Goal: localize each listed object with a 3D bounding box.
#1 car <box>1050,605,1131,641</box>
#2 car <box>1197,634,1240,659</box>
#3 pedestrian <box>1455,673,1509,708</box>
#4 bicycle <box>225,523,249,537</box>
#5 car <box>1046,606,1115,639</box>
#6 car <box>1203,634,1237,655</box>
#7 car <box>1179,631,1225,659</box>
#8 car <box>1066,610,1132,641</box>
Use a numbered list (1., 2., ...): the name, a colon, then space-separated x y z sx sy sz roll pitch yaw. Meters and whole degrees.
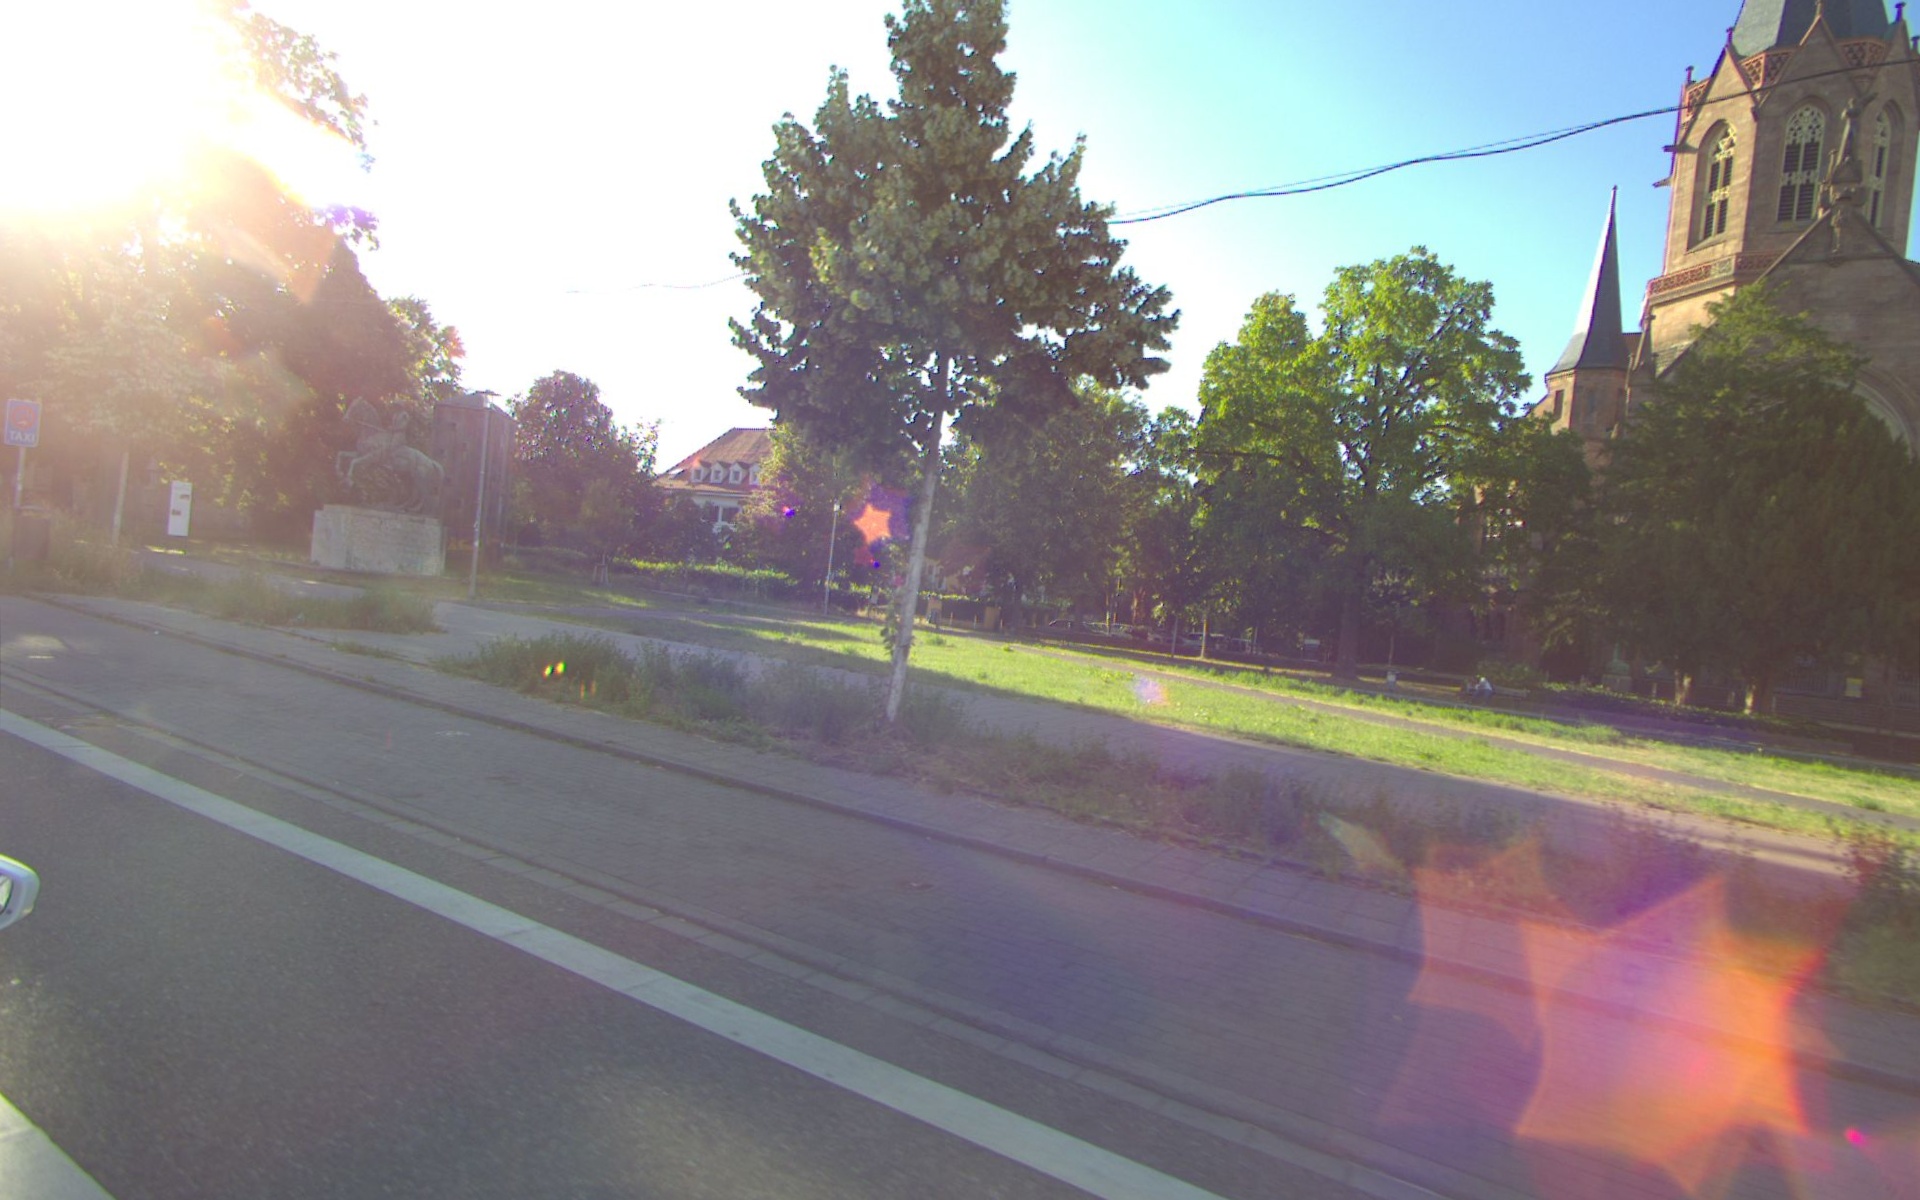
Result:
1. car: 8.212 1.451 63.520 4.554 1.740 1.998 6 1 24
2. car: 19.178 3.438 74.489 1.603 1.528 4.147 7 0 34
3. pedestrian: 17.862 3.113 34.442 1.266 1.006 1.377 7 0 41
4. bicycle: -69.614 -6.754 96.916 0.840 1.115 1.981 8 0 -3
5. car: 8.022 1.496 67.007 4.086 1.650 1.868 7 1 29
6. car: 21.806 3.729 84.292 1.539 1.466 3.497 6 -1 36
7. car: 16.710 3.128 69.377 1.572 1.528 4.148 7 -1 34
8. car: 9.808 1.810 70.954 4.086 1.639 1.868 7 1 29
